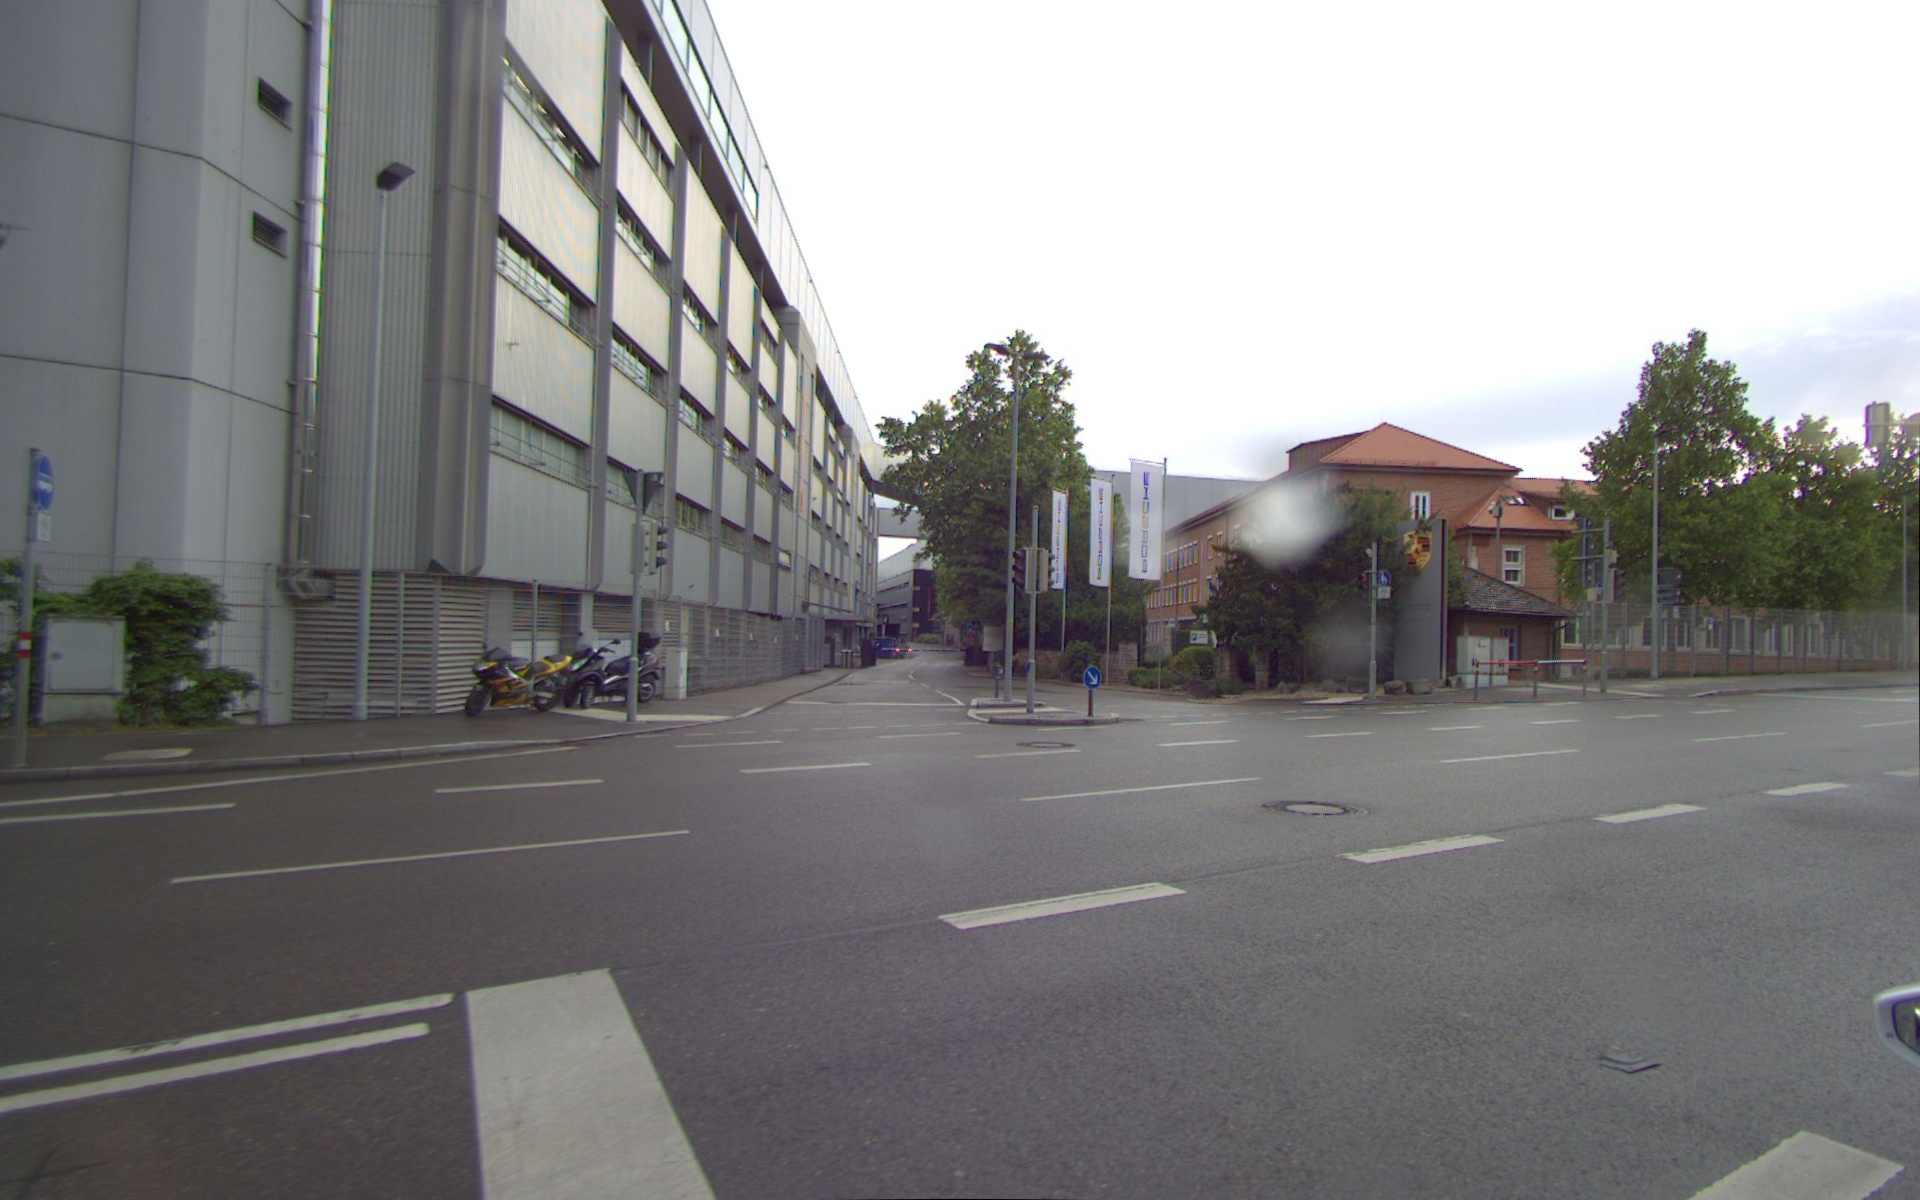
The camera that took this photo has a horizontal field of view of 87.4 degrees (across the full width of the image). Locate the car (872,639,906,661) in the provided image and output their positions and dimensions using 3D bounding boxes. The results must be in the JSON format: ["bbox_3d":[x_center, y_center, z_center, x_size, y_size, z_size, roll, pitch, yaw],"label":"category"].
[{"bbox_3d":[-9.118,6.418,128.746,4.308,2.753,1.998,1,-2,-7],"label":"car"}]

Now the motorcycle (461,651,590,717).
[{"bbox_3d":[-7.425,1.407,17.289,0.615,1.040,2.170,-1,-3,24],"label":"motorcycle"}]

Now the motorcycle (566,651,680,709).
[{"bbox_3d":[-6.417,1.503,19.237,0.616,1.040,2.166,-1,-3,32],"label":"motorcycle"}]
